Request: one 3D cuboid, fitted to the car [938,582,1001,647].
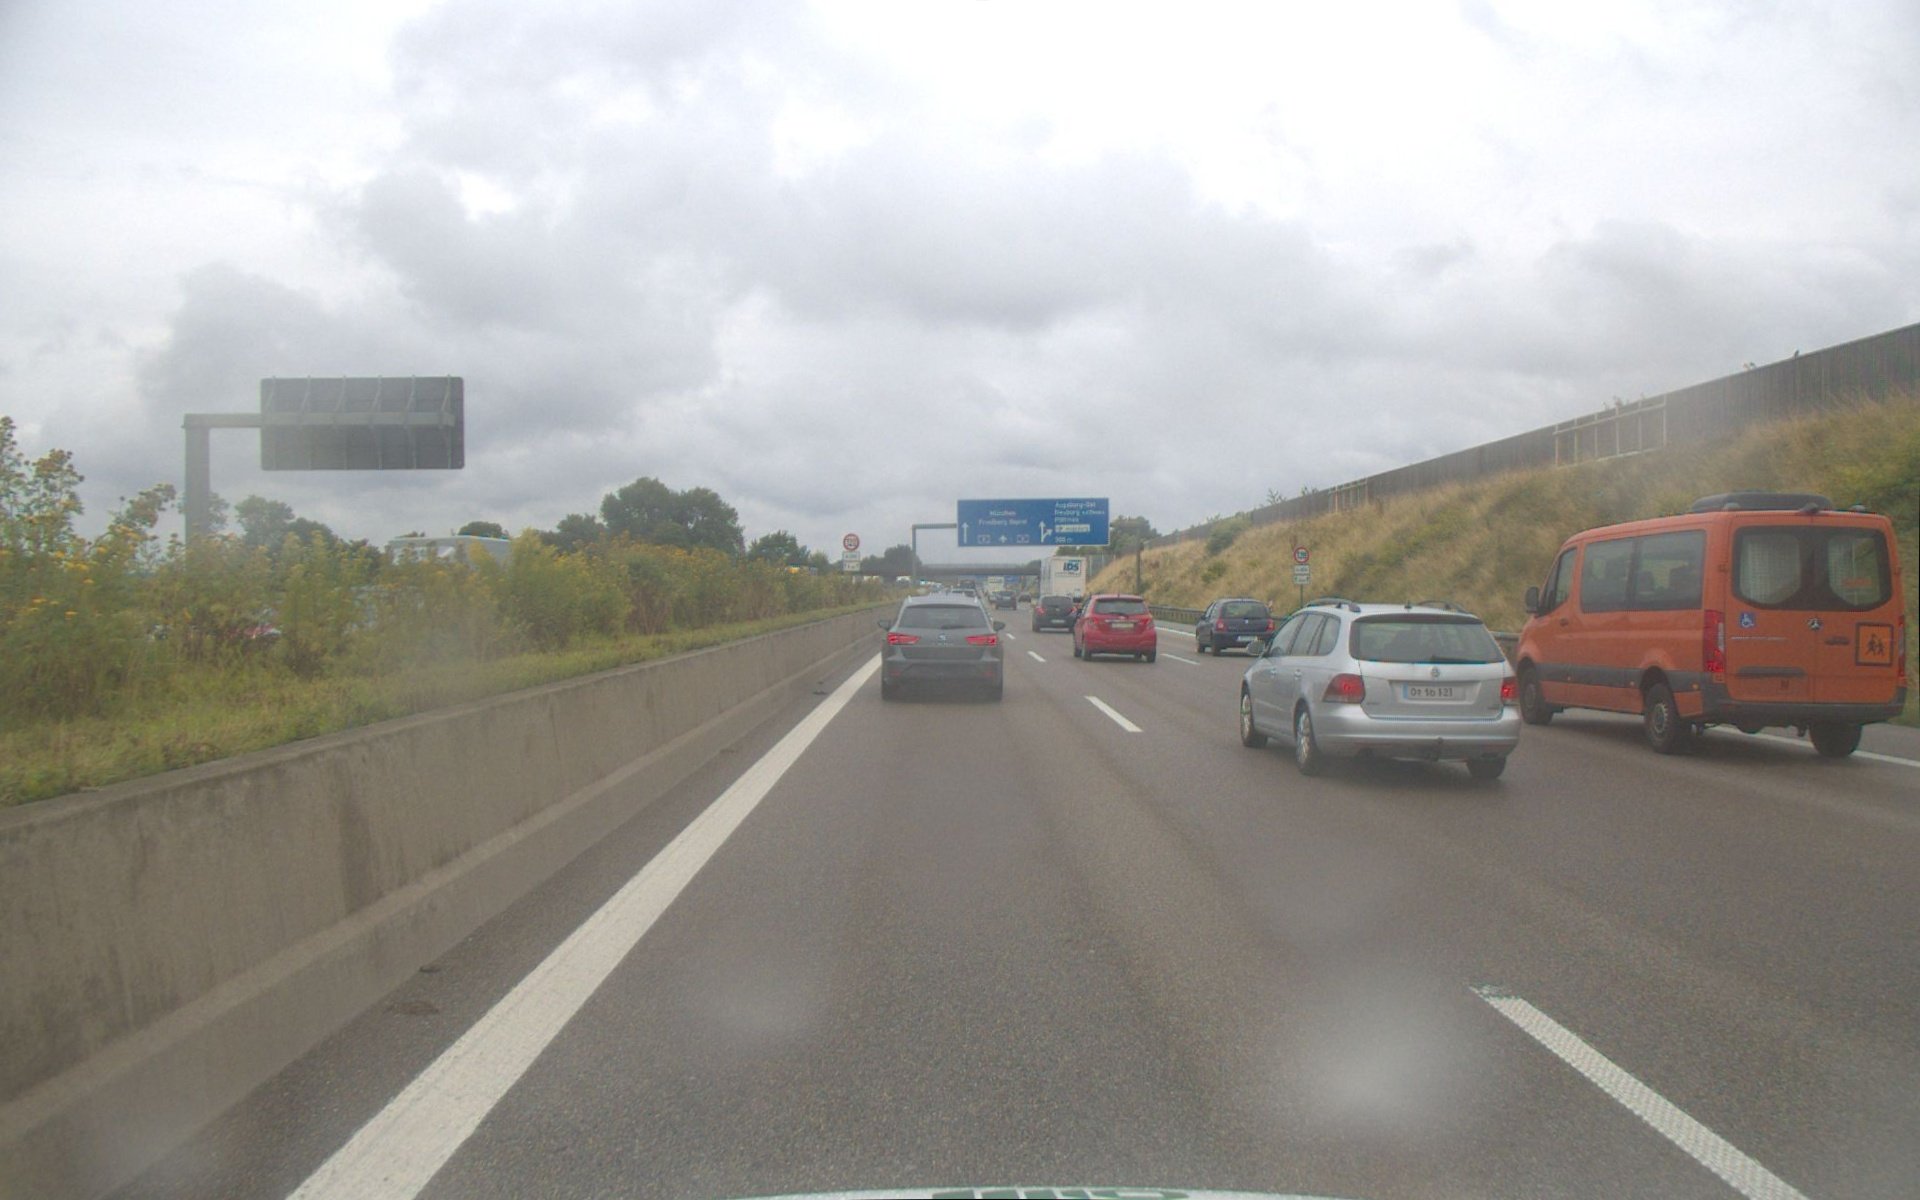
[{"bbox_3d":[0.252,0.401,47.957,1.718,1.780,4.000,1,0,0],"label":"car"}]

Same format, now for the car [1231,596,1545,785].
[{"bbox_3d":[3.720,0.701,15.199,1.706,1.450,4.517,0,0,0],"label":"car"}]

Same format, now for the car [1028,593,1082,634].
[{"bbox_3d":[3.688,0.500,65.039,1.882,1.548,4.622,0,1,0],"label":"car"}]

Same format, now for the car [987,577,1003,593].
[{"bbox_3d":[4.682,-2.008,223.182,1.954,2.049,3.998,0,0,-3],"label":"car"}]

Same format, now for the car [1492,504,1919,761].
[{"bbox_3d":[7.940,0.271,18.274,2.043,2.355,6.180,0,1,-1],"label":"car"}]

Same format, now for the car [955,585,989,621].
[{"bbox_3d":[0.600,0.133,87.302,1.670,1.828,3.854,-2,0,-1],"label":"car"}]

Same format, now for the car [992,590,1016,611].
[{"bbox_3d":[3.597,0.044,136.102,1.808,1.716,3.999,1,0,-1],"label":"car"}]

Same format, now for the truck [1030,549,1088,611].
[{"bbox_3d":[7.486,-1.444,127.864,3.216,4.370,19.030,1,0,0],"label":"truck"}]

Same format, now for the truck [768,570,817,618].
[{"bbox_3d":[-16.035,-0.571,159.071,3.342,4.440,10.991,1,0,1],"label":"truck"}]

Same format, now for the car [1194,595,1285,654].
[{"bbox_3d":[7.173,0.598,42.751,1.667,1.426,3.875,1,0,0],"label":"car"}]

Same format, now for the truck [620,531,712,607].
[{"bbox_3d":[-16.769,-1.677,95.301,3.118,4.036,10.812,1,0,1],"label":"truck"}]

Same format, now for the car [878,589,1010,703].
[{"bbox_3d":[-0.238,0.612,23.944,1.732,1.493,3.999,1,0,-1],"label":"car"}]

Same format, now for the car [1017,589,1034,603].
[{"bbox_3d":[8.791,-0.550,222.383,1.953,1.892,4.389,0,0,-2],"label":"car"}]

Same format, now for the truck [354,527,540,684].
[{"bbox_3d":[-16.883,0.182,55.321,3.159,4.731,9.673,1,0,0],"label":"truck"}]

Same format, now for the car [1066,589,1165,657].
[{"bbox_3d":[3.581,0.498,38.835,1.852,1.472,4.684,0,1,0],"label":"car"}]
